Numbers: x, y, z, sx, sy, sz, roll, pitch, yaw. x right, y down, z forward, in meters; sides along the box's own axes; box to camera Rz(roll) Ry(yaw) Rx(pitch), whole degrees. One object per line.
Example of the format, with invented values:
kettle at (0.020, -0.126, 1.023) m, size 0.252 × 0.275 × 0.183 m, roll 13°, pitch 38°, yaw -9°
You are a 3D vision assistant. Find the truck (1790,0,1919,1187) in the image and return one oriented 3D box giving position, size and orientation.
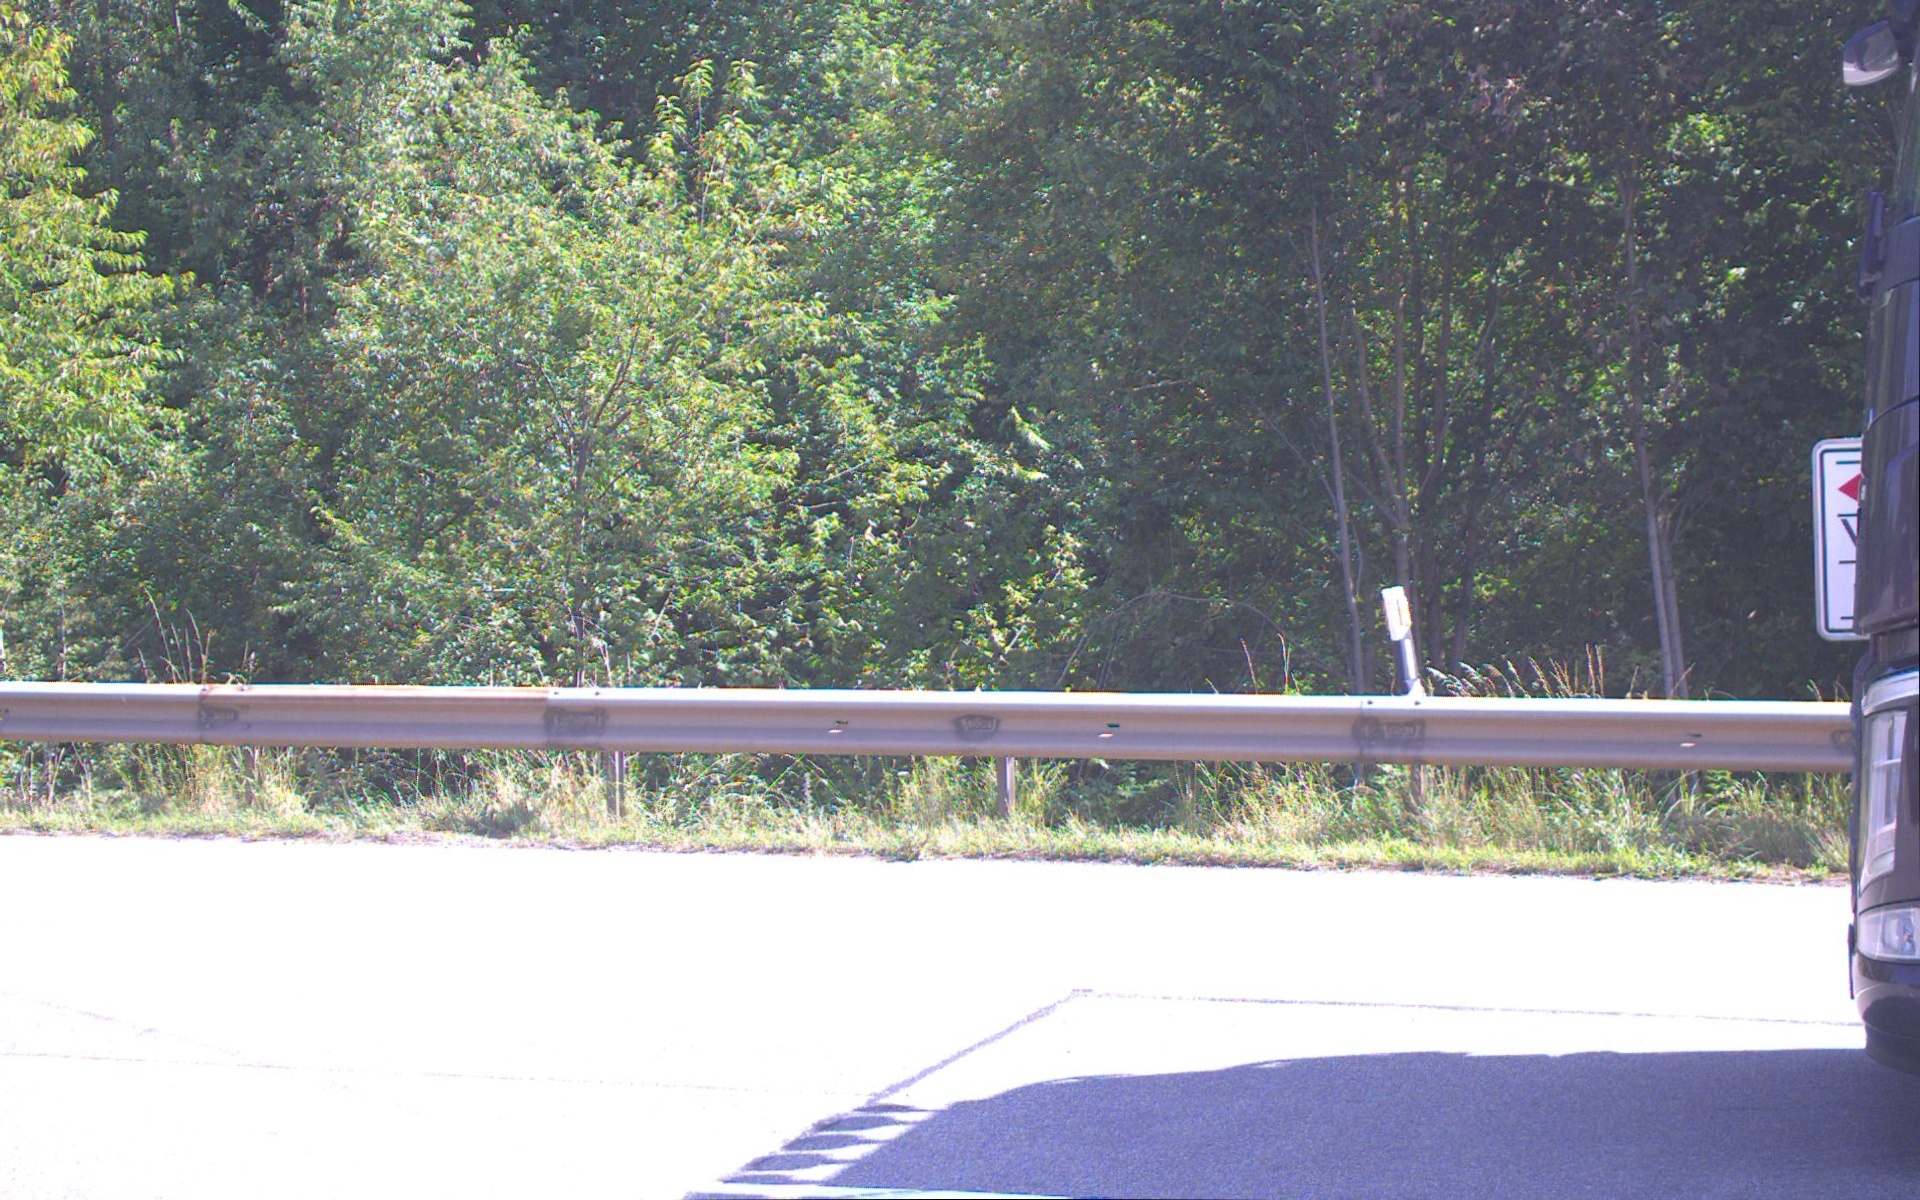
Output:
truck at (5.168, -0.749, 8.292) m, size 5.956 × 4.159 × 2.878 m, roll 1°, pitch 2°, yaw 17°
